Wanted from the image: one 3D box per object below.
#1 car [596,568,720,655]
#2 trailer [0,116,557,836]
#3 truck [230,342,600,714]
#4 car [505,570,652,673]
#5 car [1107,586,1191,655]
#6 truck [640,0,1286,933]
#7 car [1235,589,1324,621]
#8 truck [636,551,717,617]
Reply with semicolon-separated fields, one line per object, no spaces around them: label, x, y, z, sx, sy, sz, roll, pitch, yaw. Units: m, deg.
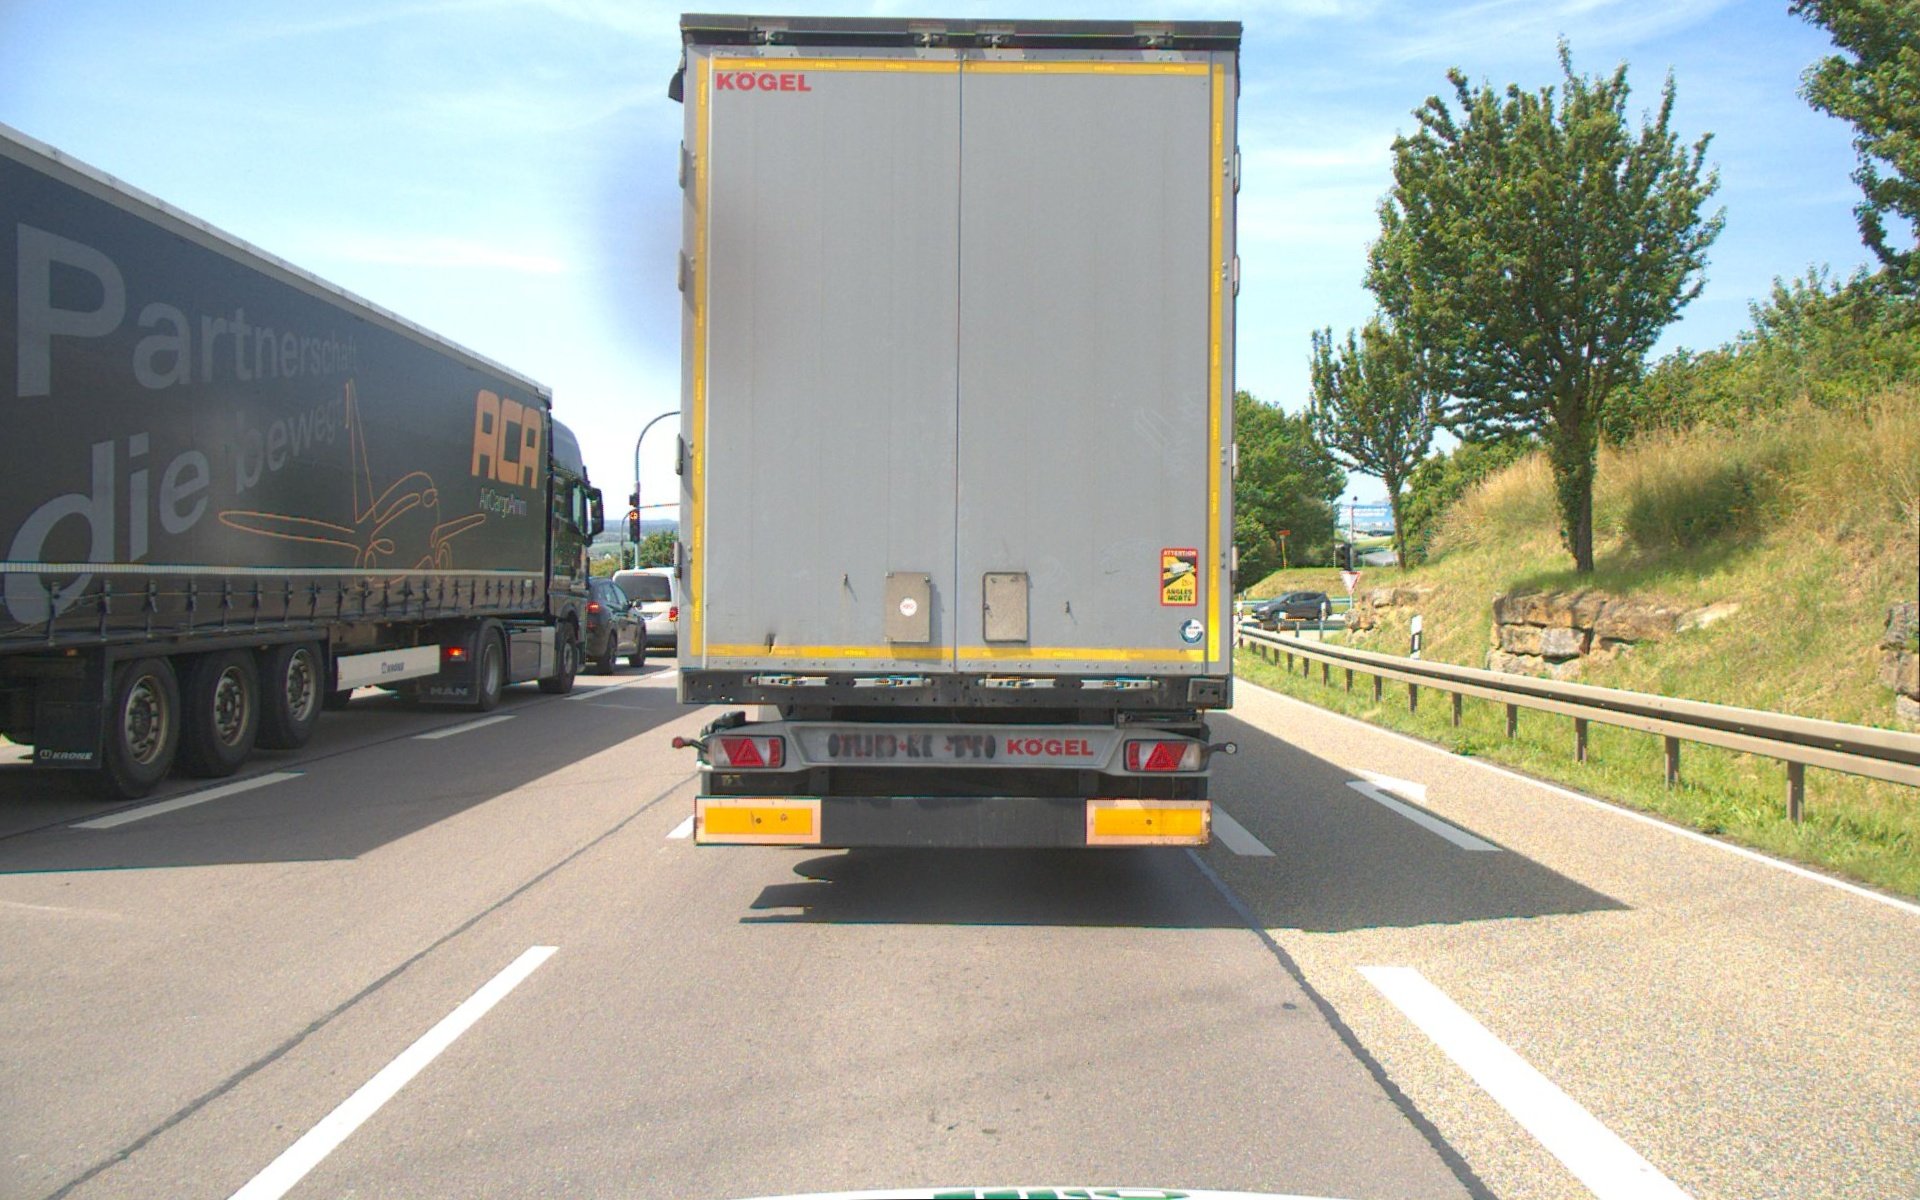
car;-6.783;0.225;37.640;1.731;1.830;4.753;1;0;2
trailer;-6.690;-0.716;14.849;2.726;3.982;13.786;1;0;0
truck;-6.698;-0.807;21.348;2.726;4.083;5.971;1;0;0
car;-6.736;0.340;29.636;1.819;1.686;4.345;1;0;-3
car;4.959;0.528;42.943;1.758;1.669;4.003;1;0;12
truck;-0.051;-0.561;12.853;2.742;3.998;11.339;1;0;-1
car;15.570;0.230;80.700;3.912;1.537;1.713;0;0;-8
truck;-13.660;-0.747;80.022;2.741;3.066;5.990;0;0;1
